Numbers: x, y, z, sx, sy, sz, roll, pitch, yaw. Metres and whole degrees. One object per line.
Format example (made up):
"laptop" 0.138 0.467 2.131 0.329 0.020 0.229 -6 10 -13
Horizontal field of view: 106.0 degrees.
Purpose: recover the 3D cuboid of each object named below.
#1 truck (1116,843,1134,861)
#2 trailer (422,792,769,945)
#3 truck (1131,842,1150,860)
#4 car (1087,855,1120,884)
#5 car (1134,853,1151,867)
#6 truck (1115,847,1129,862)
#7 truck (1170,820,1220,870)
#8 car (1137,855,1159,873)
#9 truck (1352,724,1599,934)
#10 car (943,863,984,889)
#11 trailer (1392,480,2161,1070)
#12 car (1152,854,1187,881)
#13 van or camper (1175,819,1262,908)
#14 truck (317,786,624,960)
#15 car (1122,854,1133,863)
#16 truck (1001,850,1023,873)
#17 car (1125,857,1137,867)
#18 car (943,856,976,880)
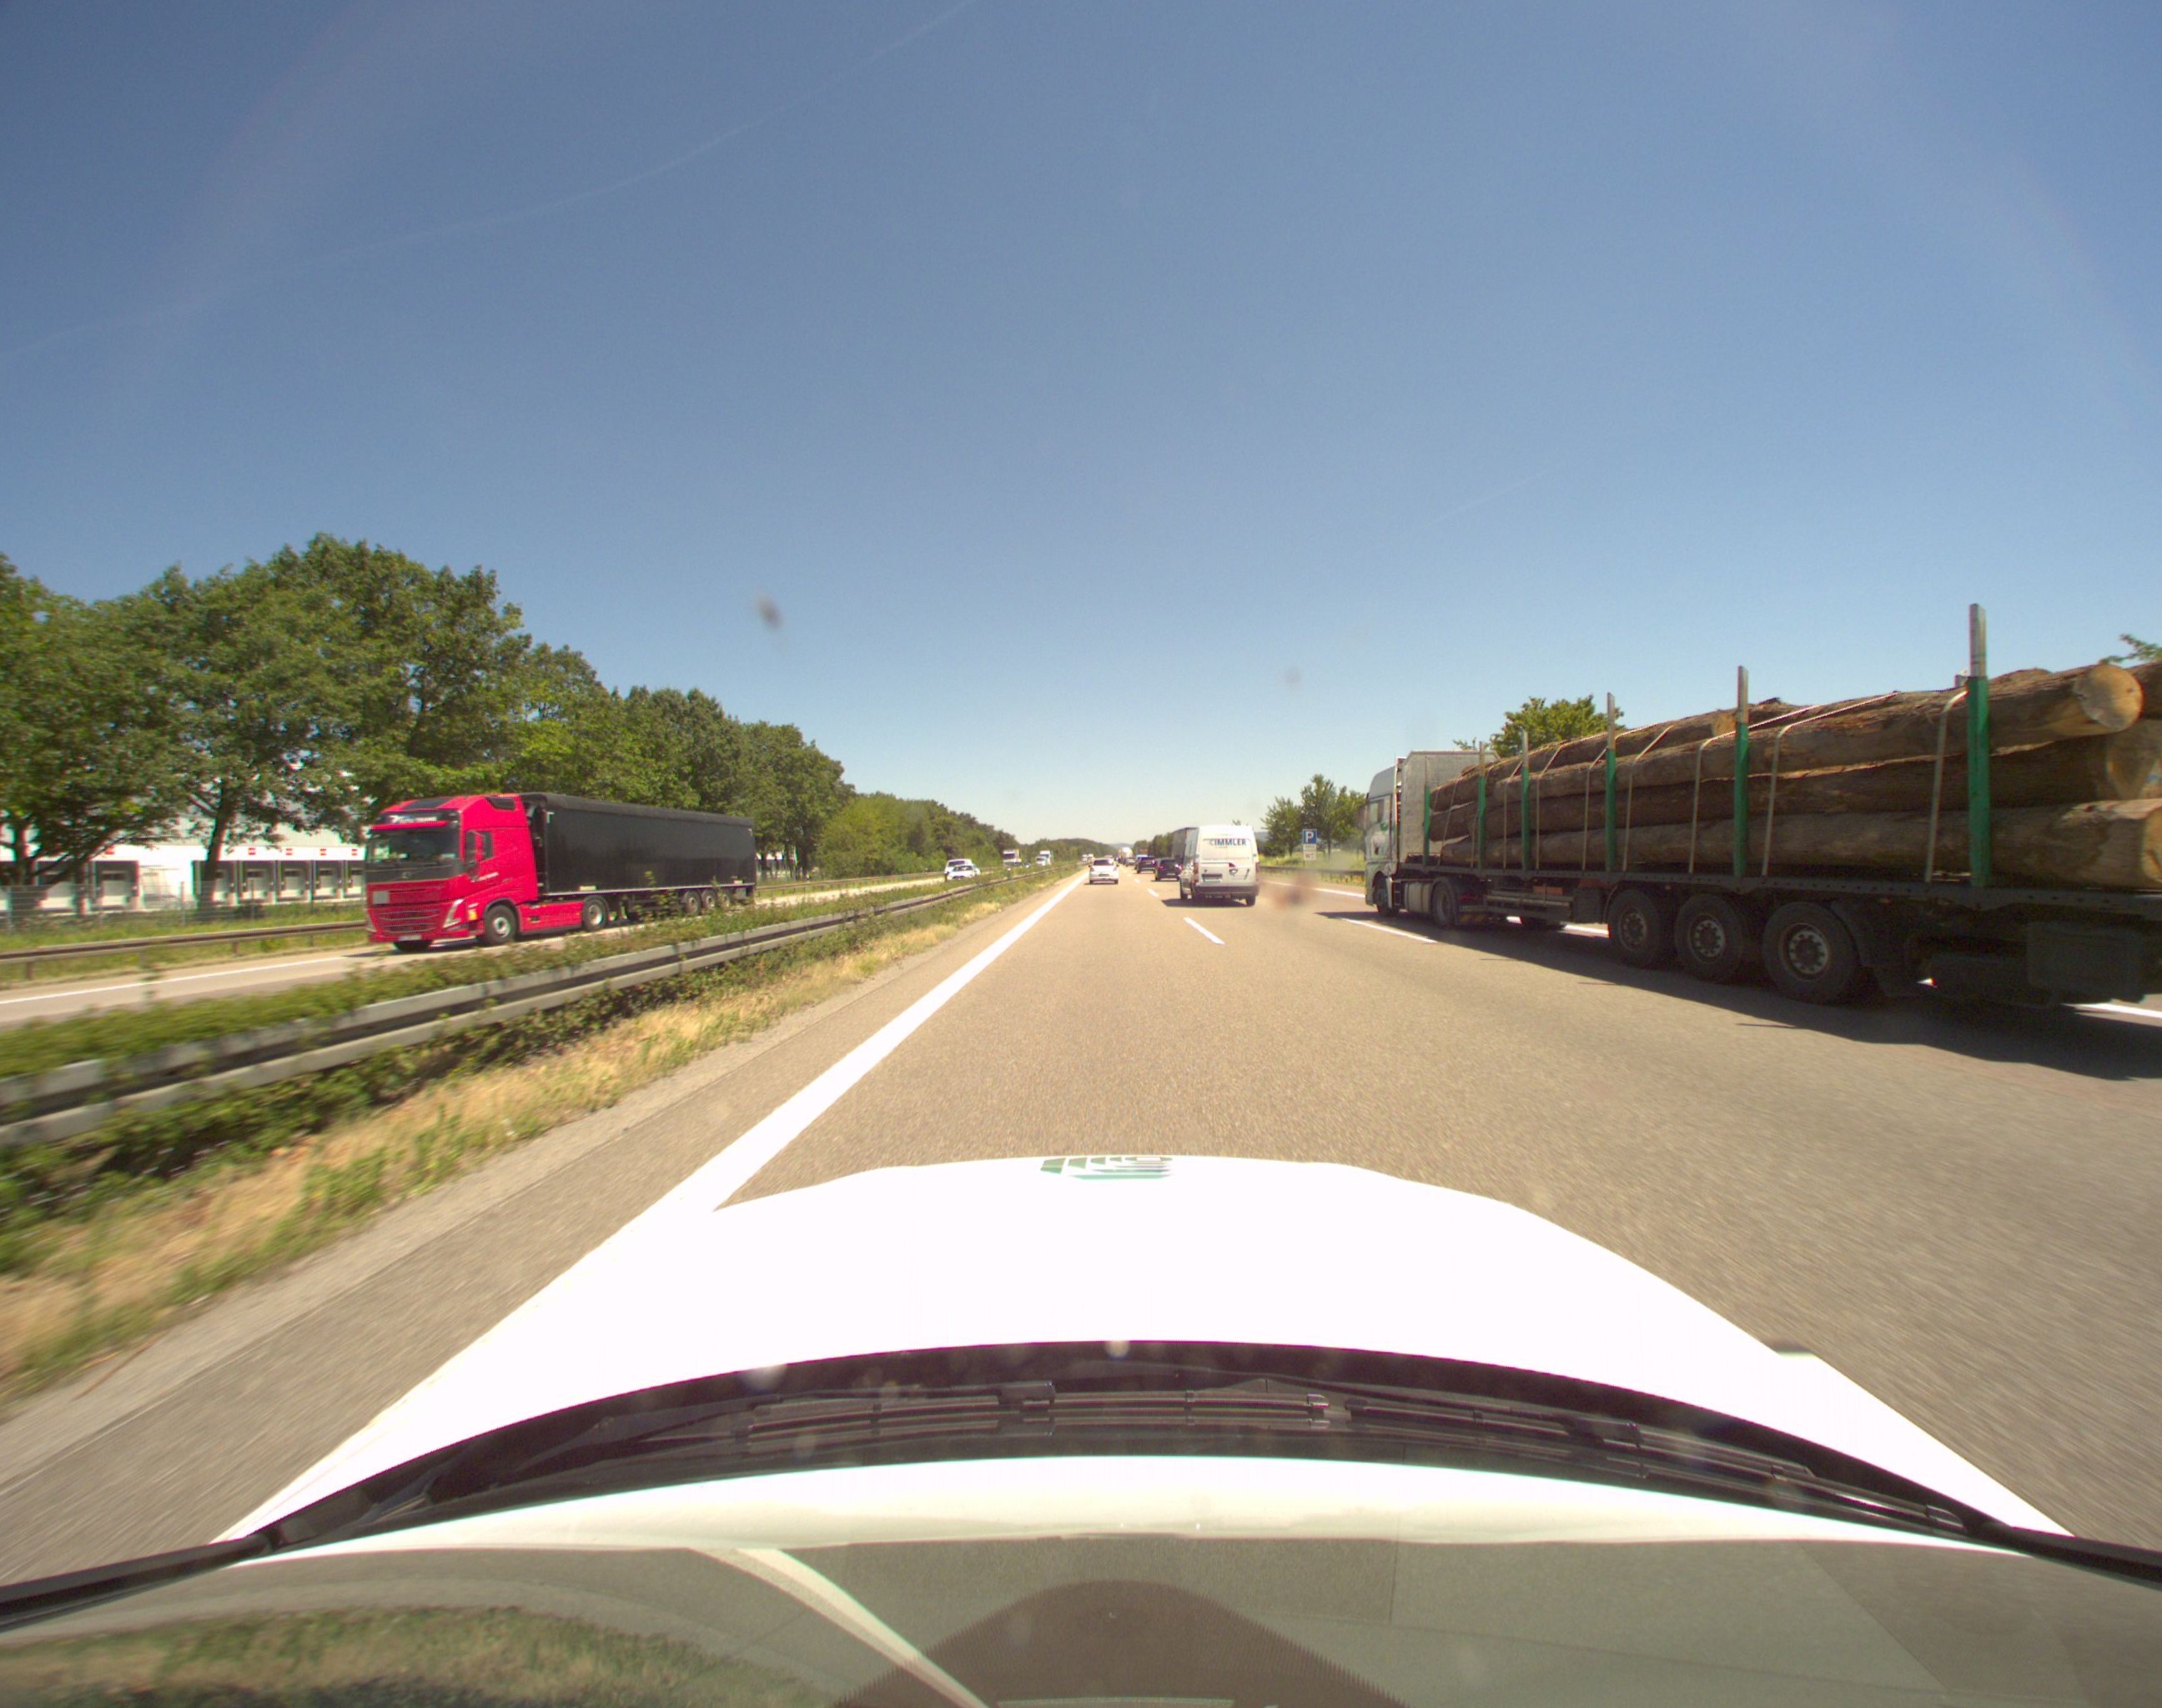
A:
"truck" 10.569 -0.356 196.673 3.248 4.209 16.836 0 0 -1
"trailer" -16.096 0.418 29.526 3.434 4.011 14.209 -4 0 2
"truck" 14.549 -0.718 199.904 3.248 4.209 16.836 0 0 -1
"car" 1.312 0.886 48.263 1.851 1.652 4.000 0 0 0
"car" 7.634 0.732 101.317 1.851 1.652 4.000 -1 0 0
"truck" 11.662 0.166 233.045 3.248 4.209 16.836 0 0 -1
"truck" 10.456 -0.724 76.588 3.067 4.209 16.852 0 0 2
"car" 6.352 0.893 77.634 1.851 1.652 4.000 -1 0 0
"truck" 8.637 -0.476 18.896 2.660 3.994 6.638 -1 0 2
"car" -7.792 1.436 54.442 1.914 1.529 4.868 -3 0 1
"trailer" 8.428 -0.541 12.267 2.643 3.958 13.641 -1 0 2
"car" 5.658 0.835 52.641 1.851 1.652 4.000 -1 0 0
"van or camper" 4.477 0.290 27.453 2.050 2.622 5.987 -1 0 2
"truck" -16.304 0.469 22.502 3.426 3.931 6.223 -4 0 2
"car" 8.983 0.841 158.123 1.851 1.652 4.000 -1 0 0
"truck" -12.226 1.316 145.851 2.596 3.761 9.869 -3 0 2
"car" 8.113 1.256 132.459 1.851 1.652 4.000 -1 0 0
"car" -10.511 1.163 70.867 1.989 1.912 5.211 -3 0 0
